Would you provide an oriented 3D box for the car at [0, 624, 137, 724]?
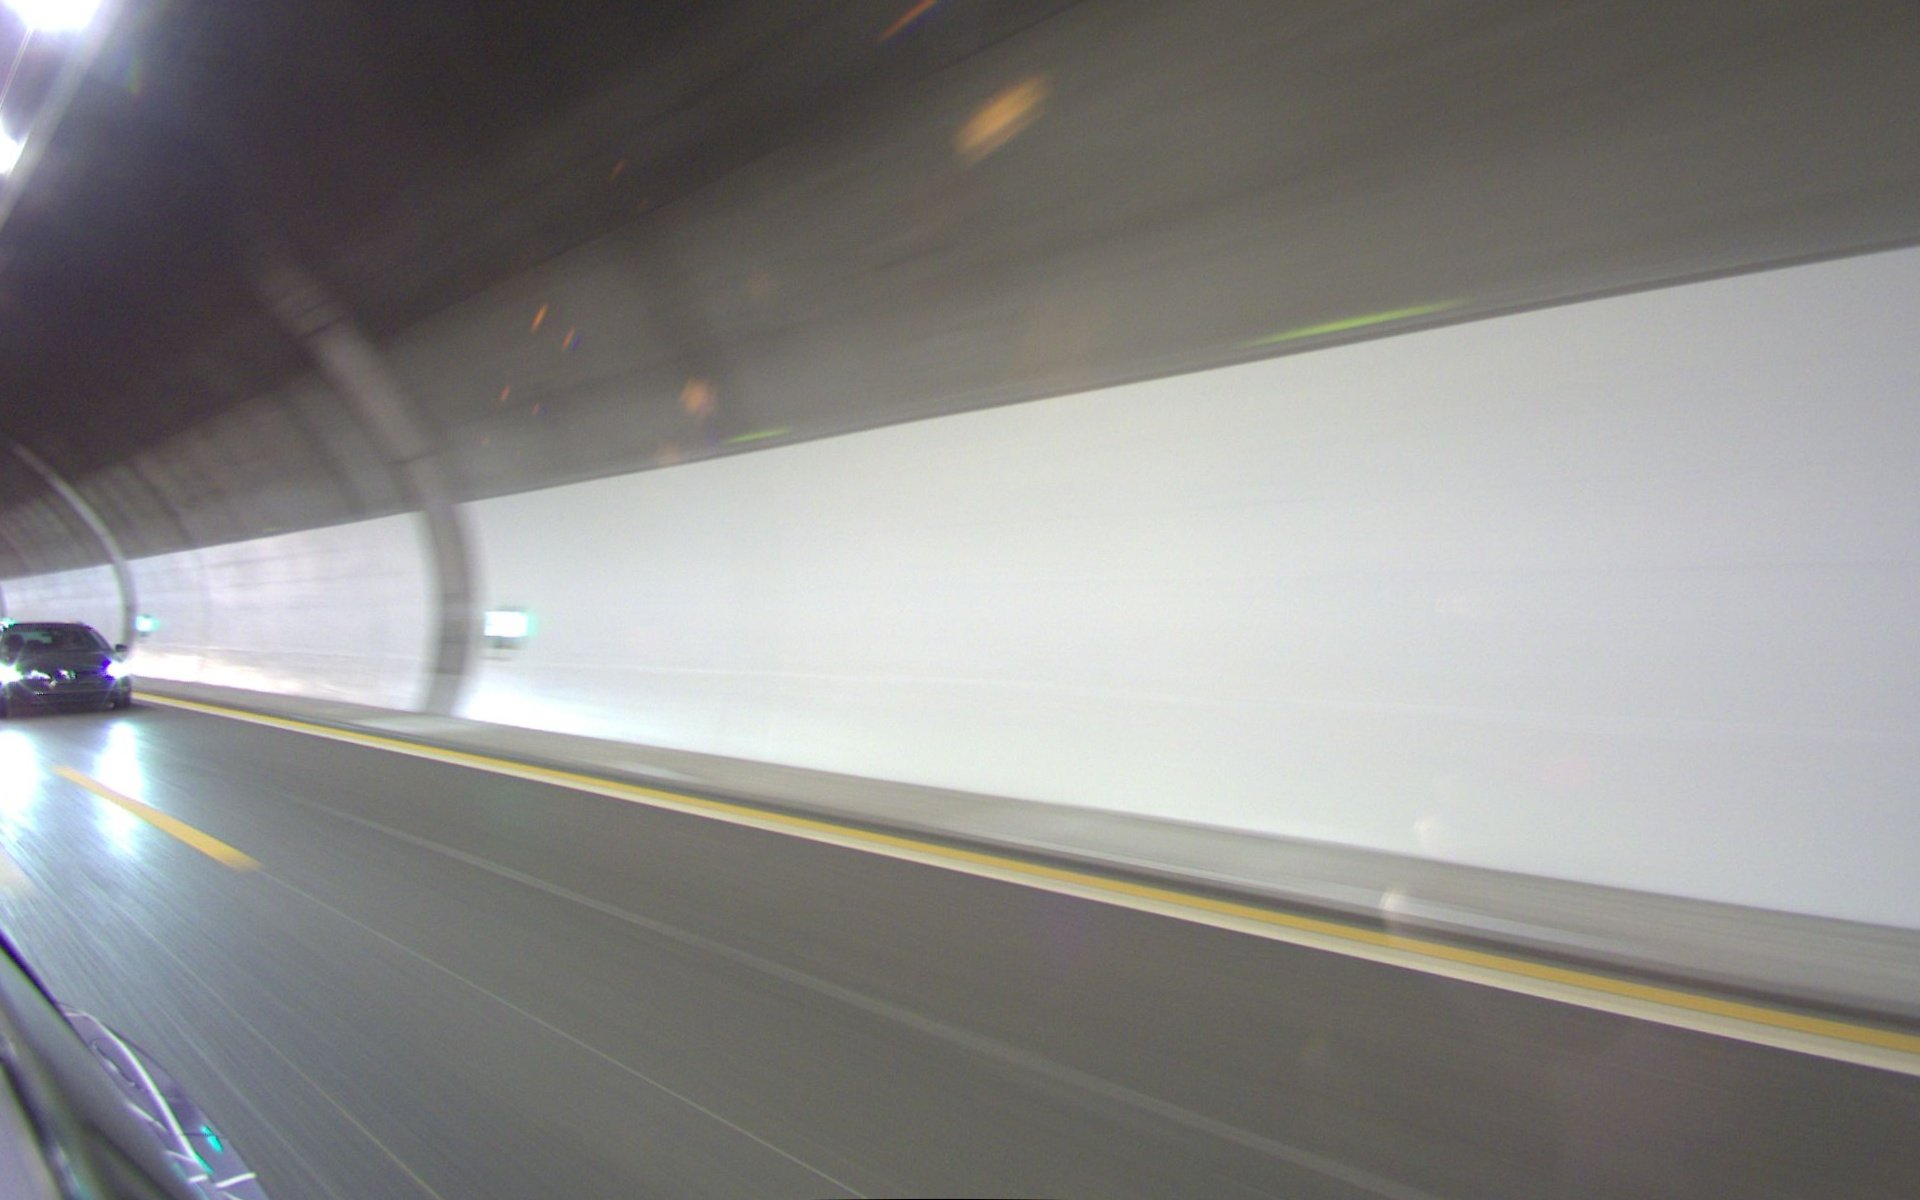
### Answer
[{"bbox_3d":[-15.628,1.158,17.129,4.879,1.449,1.760,-2,-1,40],"label":"car"}]
